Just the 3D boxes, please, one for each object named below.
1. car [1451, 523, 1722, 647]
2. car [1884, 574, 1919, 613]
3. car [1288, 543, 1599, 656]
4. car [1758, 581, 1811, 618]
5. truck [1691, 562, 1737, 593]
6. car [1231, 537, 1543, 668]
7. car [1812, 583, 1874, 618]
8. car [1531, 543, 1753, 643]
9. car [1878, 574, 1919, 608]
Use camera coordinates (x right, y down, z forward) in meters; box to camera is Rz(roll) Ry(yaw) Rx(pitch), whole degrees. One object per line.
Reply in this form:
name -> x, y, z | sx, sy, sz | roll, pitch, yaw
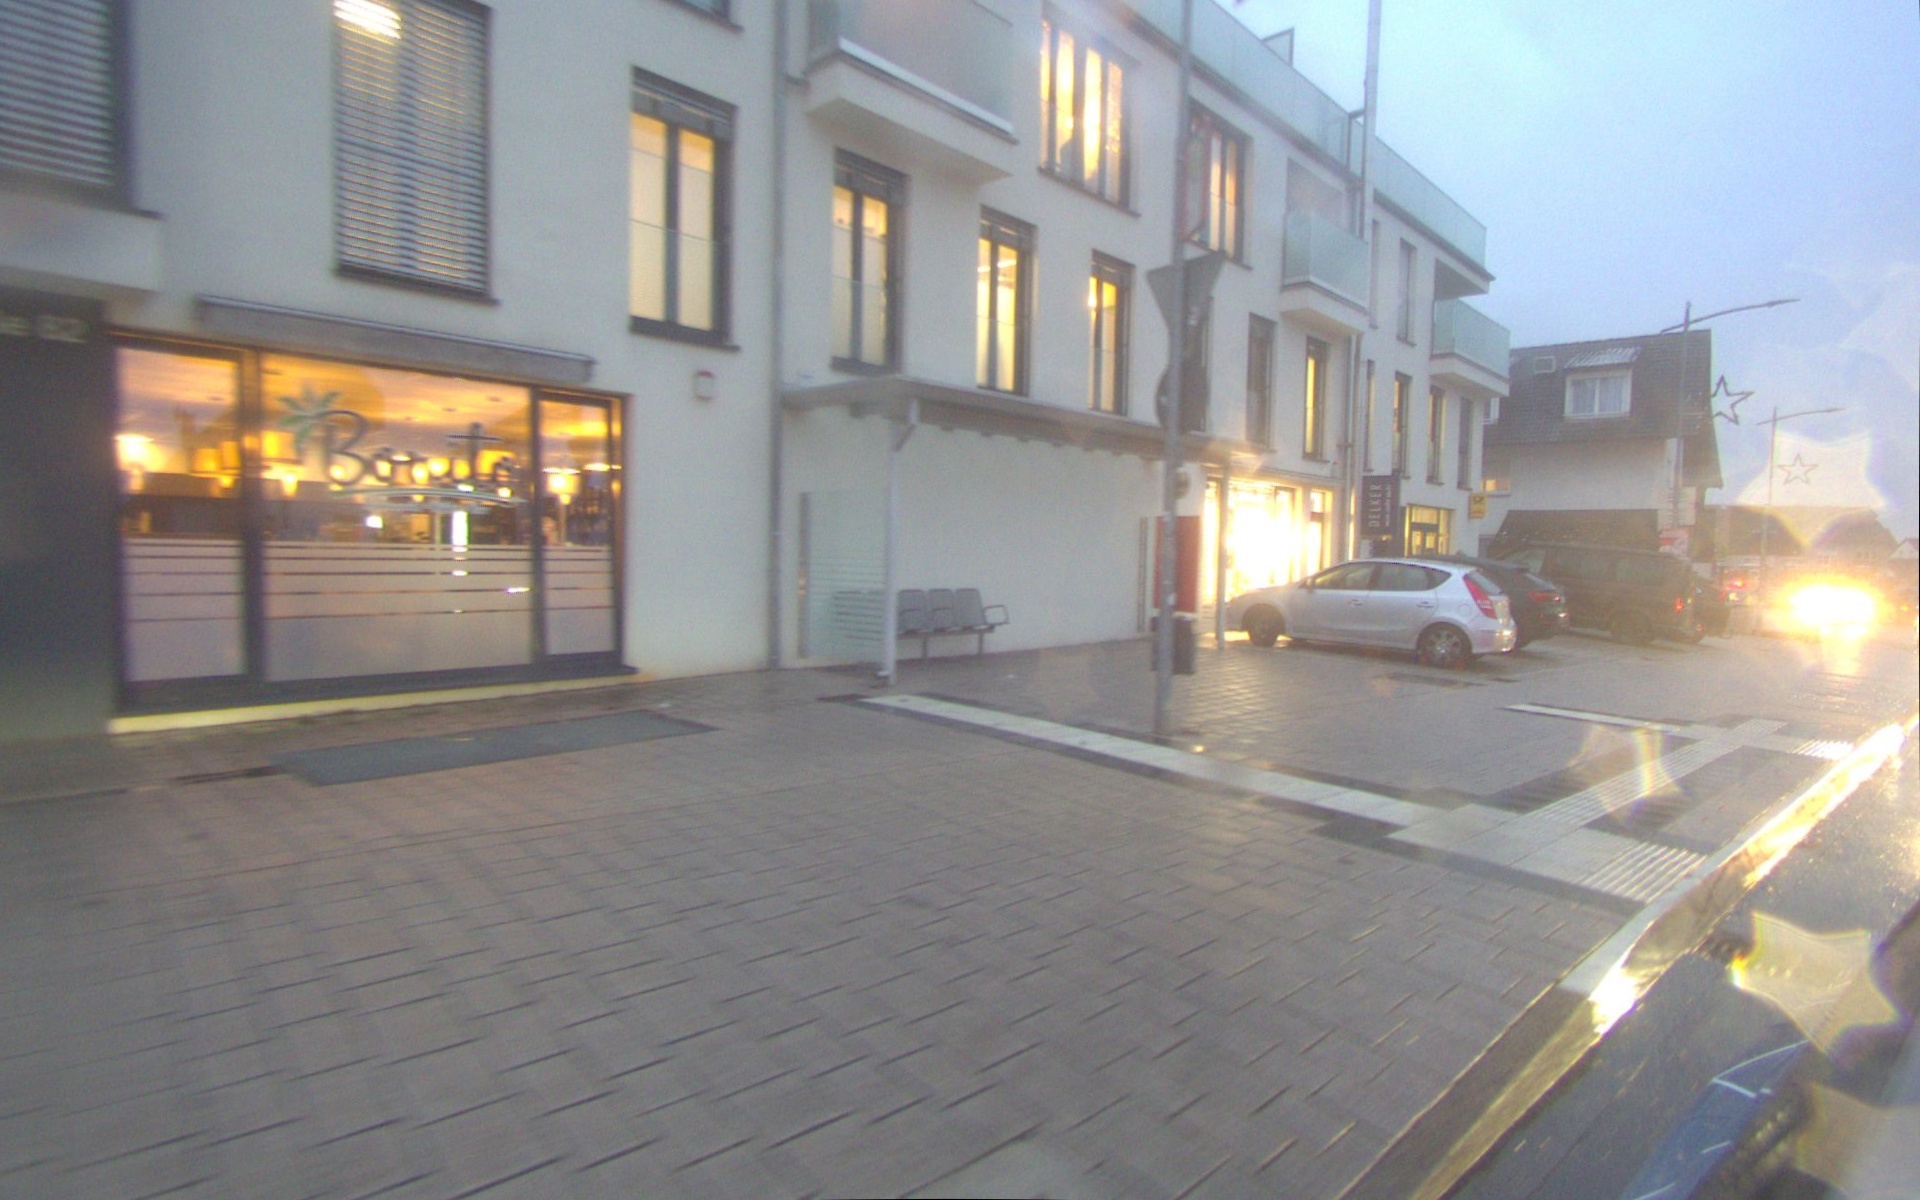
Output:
car -> 13.567, -0.419, 22.109 | 4.547, 1.955, 1.944 | 12, 9, 43
car -> 46.620, -0.348, 49.227 | 1.712, 1.835, 4.090 | 2, 2, 32
car -> 8.368, -0.125, 17.792 | 4.510, 1.509, 1.945 | 7, 6, 43
car -> 39.786, -0.049, 48.856 | 1.841, 1.605, 3.715 | 4, 3, 39
truck -> 58.900, -1.768, 79.167 | 2.232, 2.258, 6.036 | 2, 2, 32
car -> 6.396, -0.073, 15.363 | 3.980, 1.520, 1.790 | 7, 6, 37
car -> 43.584, 0.006, 50.007 | 1.822, 1.563, 3.670 | 2, 2, 34
car -> 16.410, -0.235, 24.491 | 4.137, 1.652, 1.731 | 13, 8, 37
car -> 58.087, -0.565, 61.816 | 1.981, 2.038, 3.963 | 2, 2, 27
